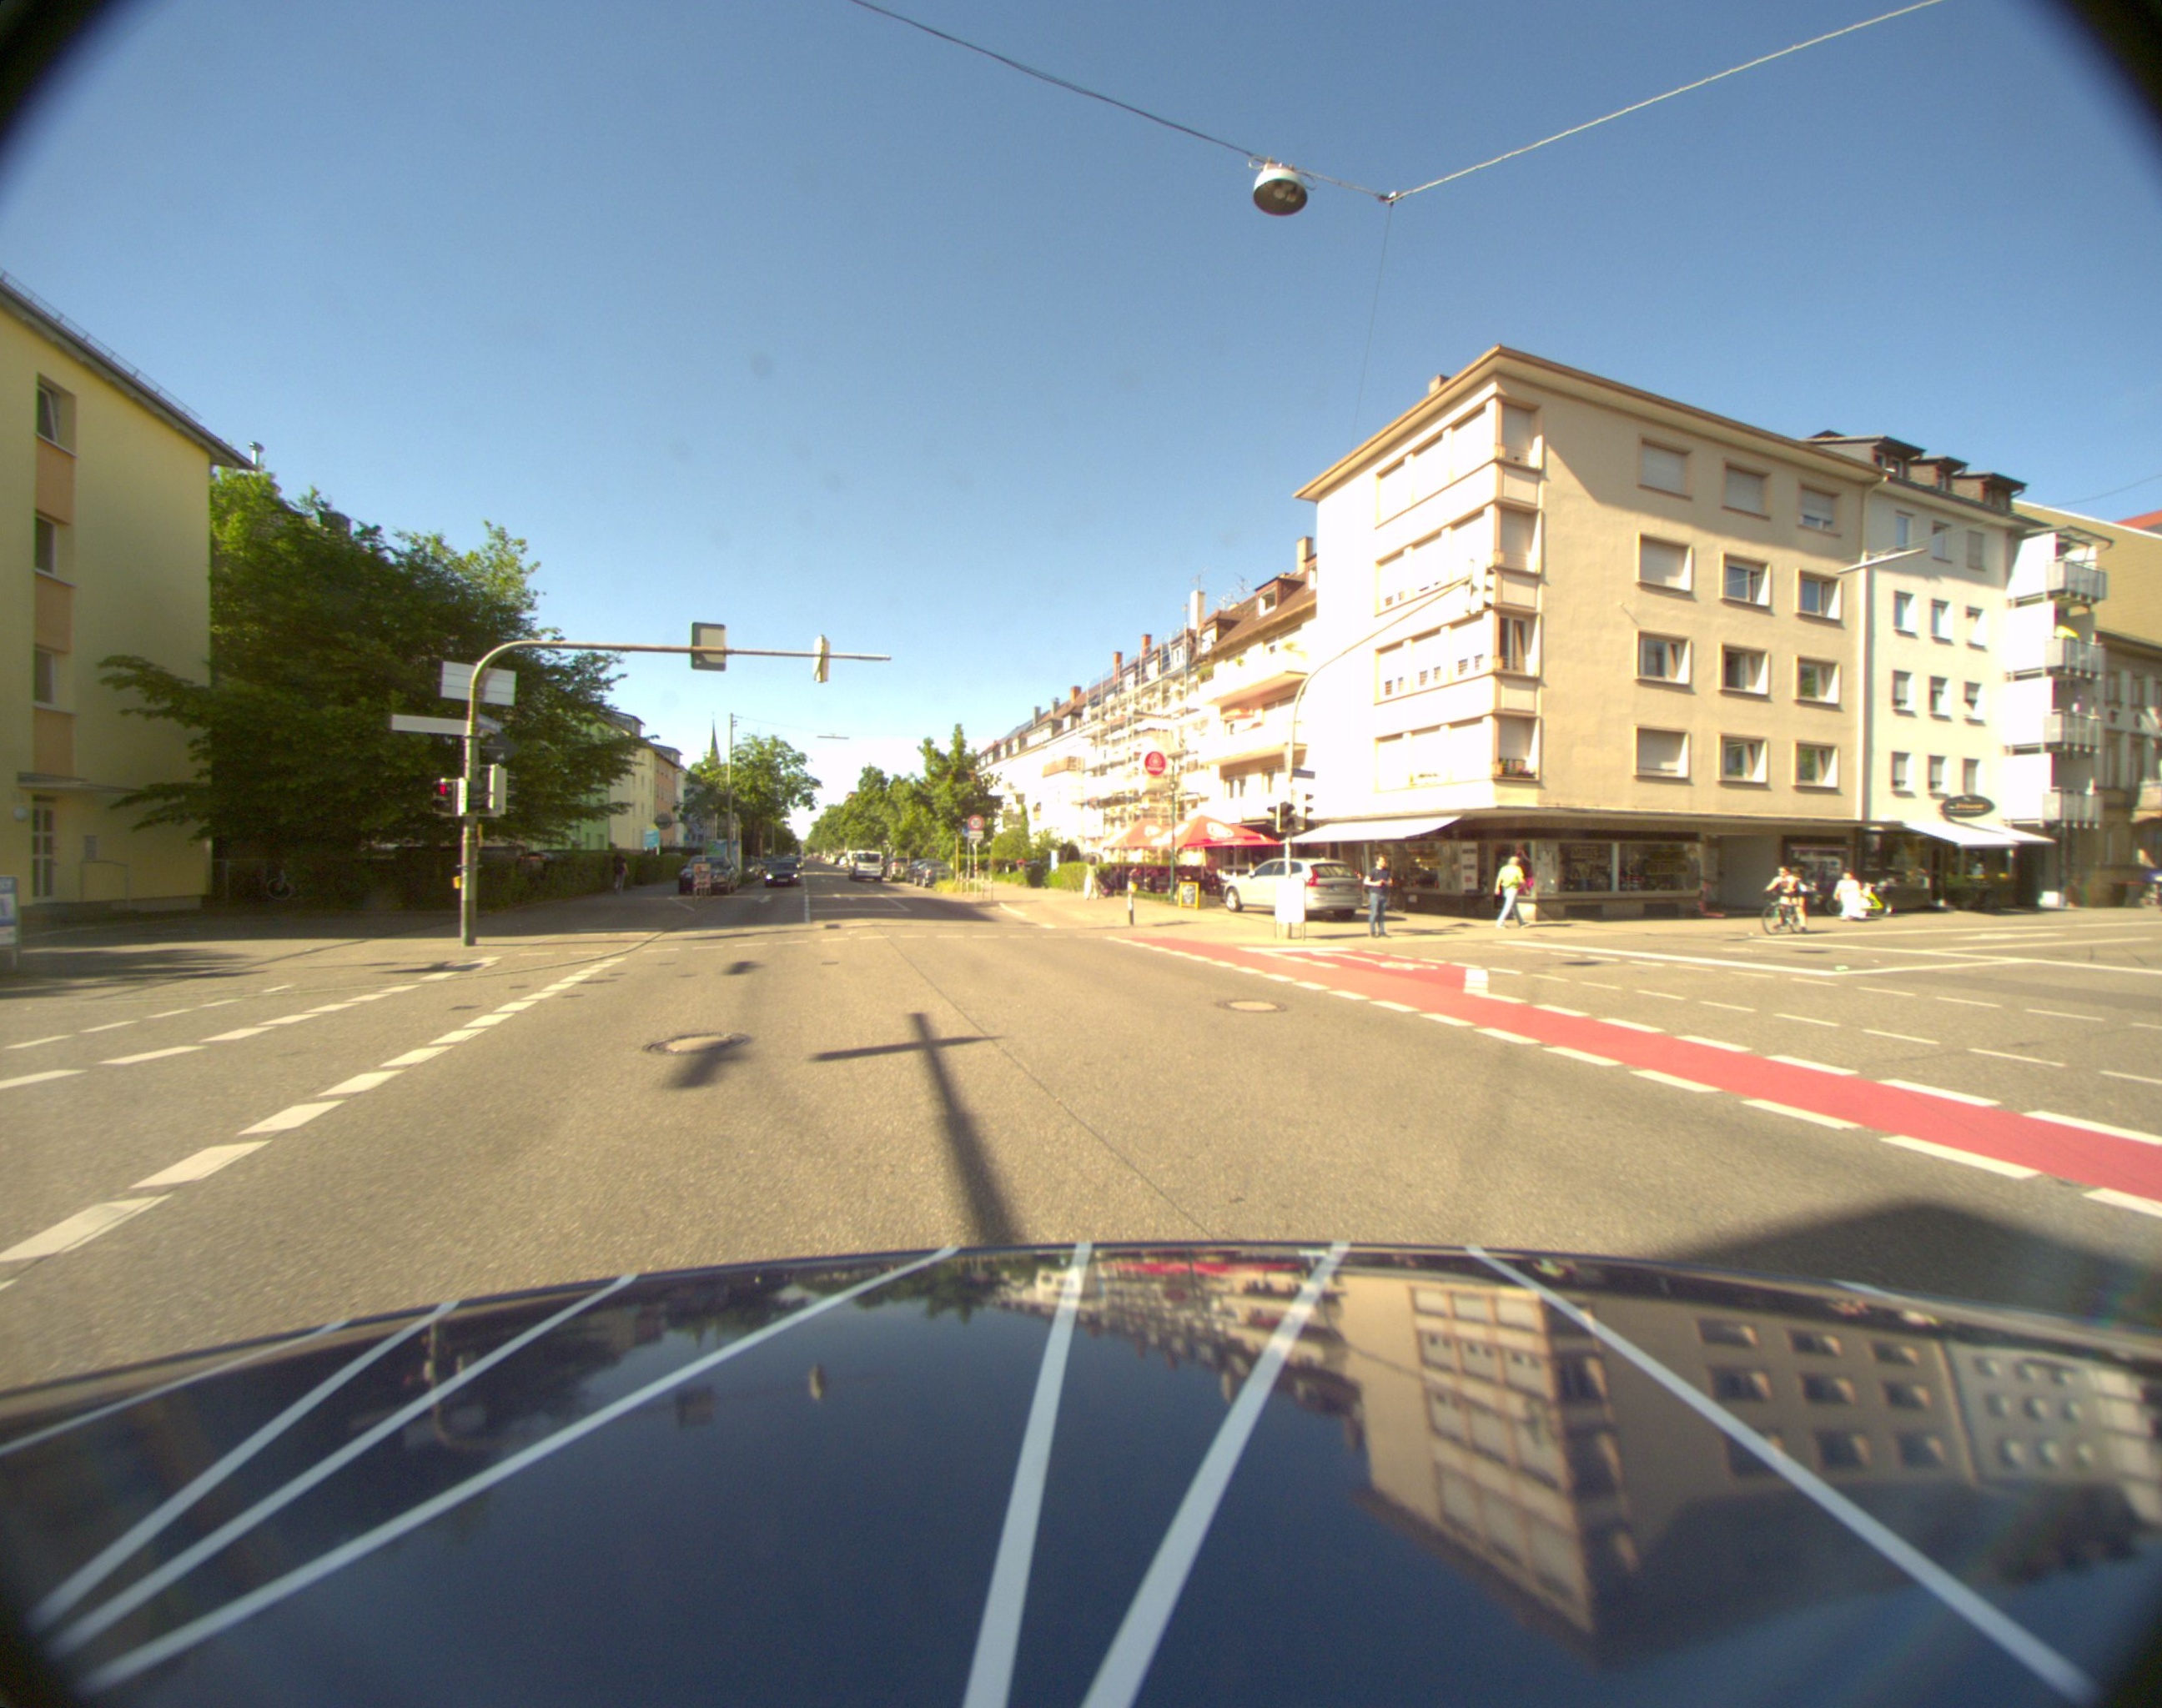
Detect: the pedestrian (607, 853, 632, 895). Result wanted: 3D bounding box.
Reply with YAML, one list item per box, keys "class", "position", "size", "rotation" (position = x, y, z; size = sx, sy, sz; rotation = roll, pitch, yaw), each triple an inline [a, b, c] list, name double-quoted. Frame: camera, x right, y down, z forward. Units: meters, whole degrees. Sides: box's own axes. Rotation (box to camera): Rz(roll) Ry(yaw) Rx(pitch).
- class: "pedestrian"
  position: [-17.596, 0.747, 28.984]
  size: [0.646, 1.577, 0.571]
  rotation: [0, 1, -13]

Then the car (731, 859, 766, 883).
- class: "car"
  position: [-20.099, 1.008, 46.024]
  size: [1.687, 1.404, 3.516]
  rotation: [0, 0, -20]

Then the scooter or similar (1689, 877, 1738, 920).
- class: "scooter or similar"
  position: [18.404, 1.284, 22.116]
  size: [1.230, 1.218, 0.526]
  rotation: [0, 1, -20]

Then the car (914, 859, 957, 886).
- class: "car"
  position: [-7.975, 0.978, 41.392]
  size: [1.716, 1.306, 3.993]
  rotation: [0, 0, -20]

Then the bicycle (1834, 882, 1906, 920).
- class: "bicycle"
  position: [25.118, 1.473, 24.232]
  size: [1.491, 1.100, 0.725]
  rotation: [1, 1, 38]

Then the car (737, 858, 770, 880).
- class: "car"
  position: [-21.330, 0.955, 49.530]
  size: [1.687, 1.329, 3.516]
  rotation: [0, 0, -19]

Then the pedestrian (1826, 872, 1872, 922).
- class: "pedestrian"
  position: [22.880, 1.275, 22.640]
  size: [0.626, 1.434, 0.774]
  rotation: [0, 1, -25]

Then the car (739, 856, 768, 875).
- class: "car"
  position: [-23.927, 0.842, 55.595]
  size: [1.687, 1.329, 3.516]
  rotation: [0, 0, -19]

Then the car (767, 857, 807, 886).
- class: "car"
  position: [-15.478, 0.891, 40.164]
  size: [1.871, 1.368, 3.993]
  rotation: [-1, 1, -20]

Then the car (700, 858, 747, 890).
- class: "car"
  position: [-17.011, 0.917, 36.261]
  size: [1.687, 1.404, 3.516]
  rotation: [0, 0, -20]

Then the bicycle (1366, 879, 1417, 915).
- class: "bicycle"
  position: [9.639, 1.325, 23.689]
  size: [0.567, 1.011, 1.893]
  rotation: [0, 0, -9]

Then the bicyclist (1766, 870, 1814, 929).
- class: "bicyclist"
  position: [17.117, 1.086, 18.346]
  size: [0.665, 1.369, 0.582]
  rotation: [0, 1, -16]

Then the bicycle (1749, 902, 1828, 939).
- class: "bicycle"
  position: [17.077, 1.591, 18.346]
  size: [1.710, 0.801, 0.582]
  rotation: [0, 0, -16]

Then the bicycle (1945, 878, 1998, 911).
- class: "bicycle"
  position: [32.171, 1.445, 27.456]
  size: [1.776, 1.137, 0.597]
  rotation: [0, 3, -20]

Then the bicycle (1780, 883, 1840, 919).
- class: "bicycle"
  position: [22.721, 1.445, 23.676]
  size: [1.801, 1.079, 0.407]
  rotation: [1, 3, -15]

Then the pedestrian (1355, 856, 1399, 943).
- class: "pedestrian"
  position: [6.331, 0.943, 16.263]
  size: [0.607, 1.812, 0.627]
  rotation: [0, 1, -35]

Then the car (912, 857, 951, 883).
- class: "car"
  position: [-9.043, 0.922, 45.702]
  size: [1.716, 1.445, 3.993]
  rotation: [0, 0, -20]

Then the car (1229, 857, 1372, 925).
- class: "car"
  position: [5.944, 0.936, 21.106]
  size: [1.827, 1.653, 3.993]
  rotation: [0, 0, -20]

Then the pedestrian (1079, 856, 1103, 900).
- class: "pedestrian"
  position: [0.366, 0.869, 28.005]
  size: [0.646, 1.608, 0.593]
  rotation: [0, 1, -25]

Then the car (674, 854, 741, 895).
- class: "car"
  position: [-15.312, 0.804, 31.345]
  size: [2.002, 1.565, 3.993]
  rotation: [0, 0, -20]

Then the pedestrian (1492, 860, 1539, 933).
- class: "pedestrian"
  position: [10.670, 1.021, 18.674]
  size: [0.763, 1.747, 0.663]
  rotation: [0, 0, -15]

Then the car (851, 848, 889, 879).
- class: "car"
  position: [-13.877, 0.644, 49.780]
  size: [1.977, 1.928, 5.047]
  rotation: [0, -1, -21]
